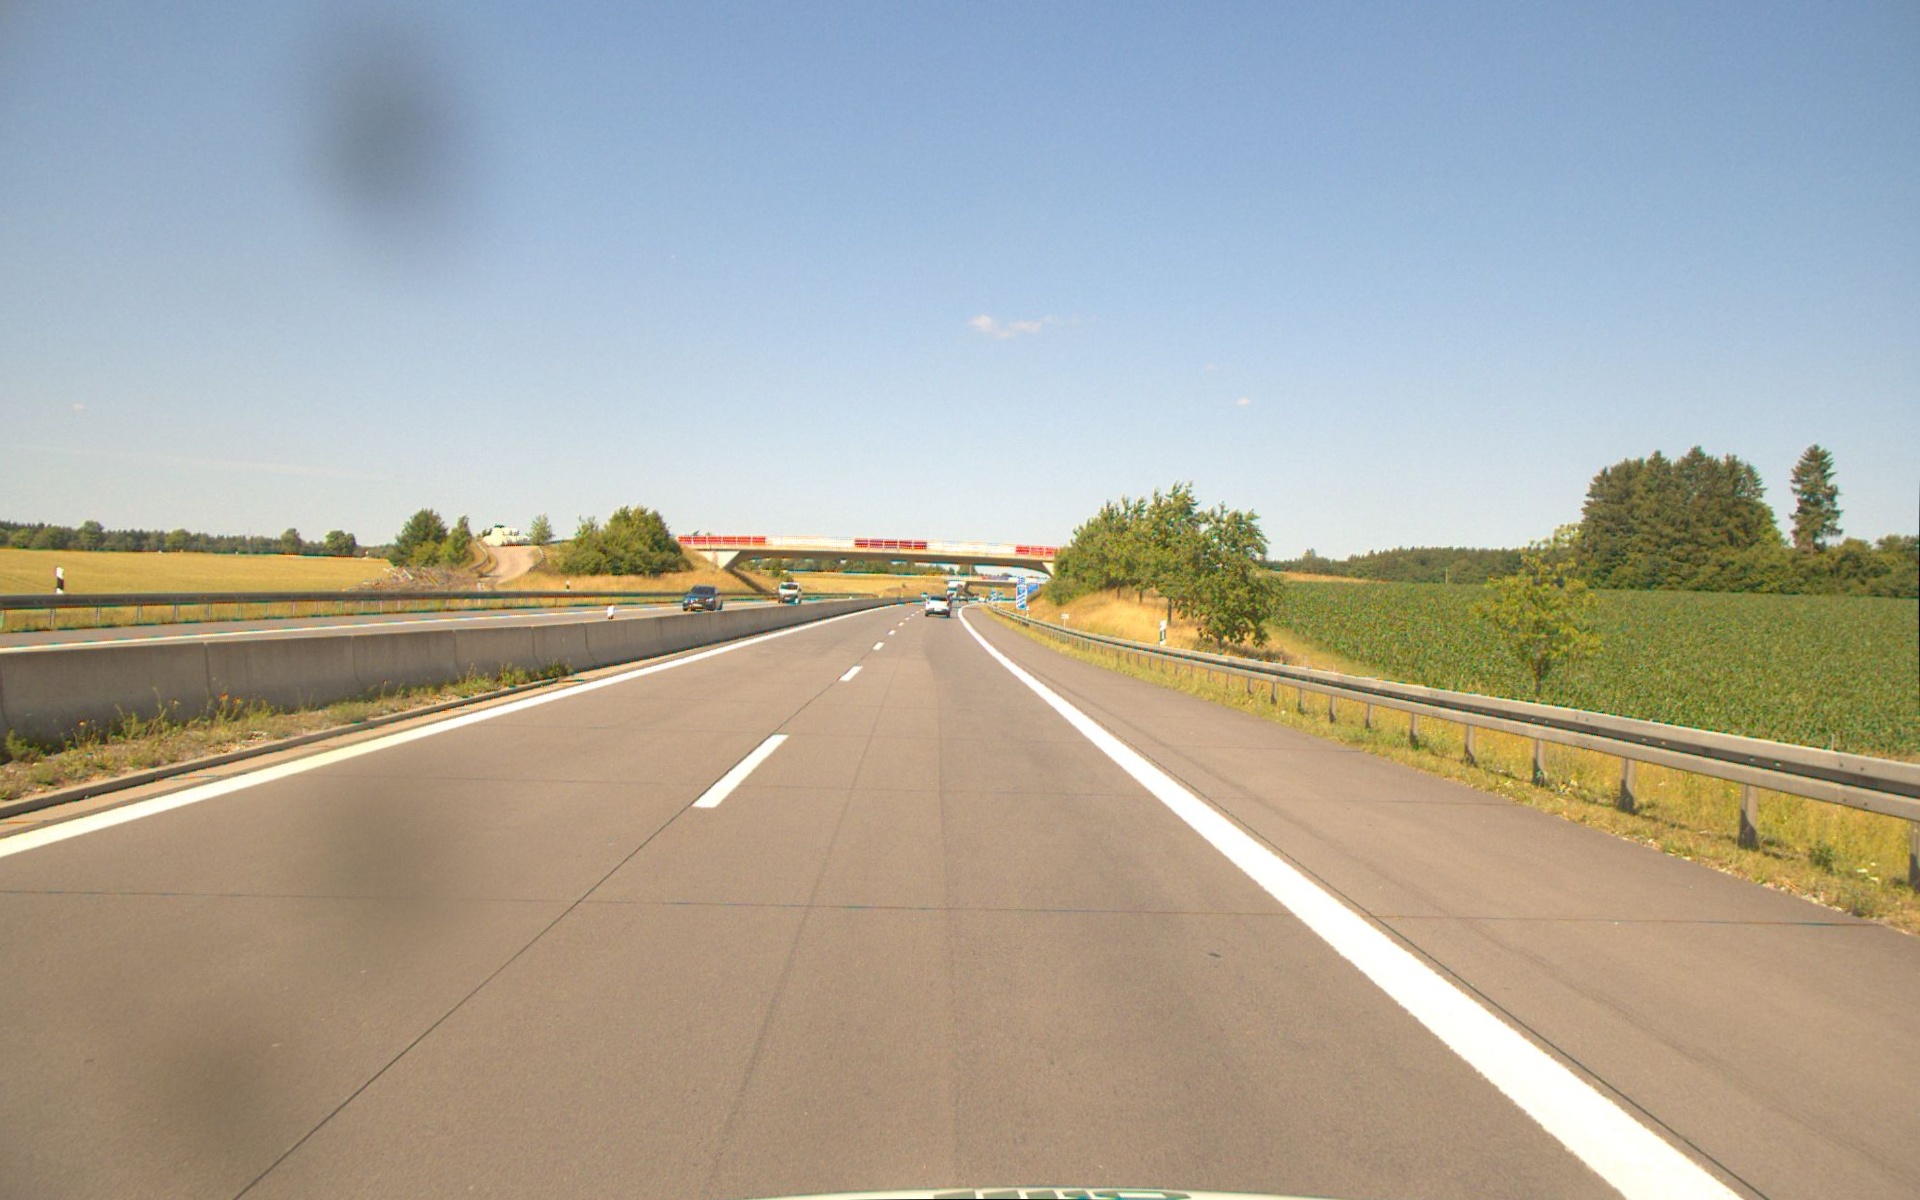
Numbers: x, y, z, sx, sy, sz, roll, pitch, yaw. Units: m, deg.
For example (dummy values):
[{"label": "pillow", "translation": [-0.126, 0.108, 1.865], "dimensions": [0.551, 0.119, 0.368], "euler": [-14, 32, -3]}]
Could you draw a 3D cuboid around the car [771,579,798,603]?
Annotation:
[{"label": "car", "translation": [-16.620, -0.860, 156.910], "dimensions": [1.954, 2.048, 5.713], "euler": [4, 0, -2]}]

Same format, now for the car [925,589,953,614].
[{"label": "car", "translation": [-1.539, 0.103, 119.998], "dimensions": [1.953, 1.761, 4.867], "euler": [2, 0, -2]}]

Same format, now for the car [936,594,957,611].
[{"label": "car", "translation": [-1.383, 0.243, 172.078], "dimensions": [1.952, 1.761, 4.870], "euler": [2, 0, 2]}]

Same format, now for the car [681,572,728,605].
[{"label": "car", "translation": [-14.733, -0.674, 95.624], "dimensions": [1.869, 1.714, 5.006], "euler": [4, 1, -1]}]
